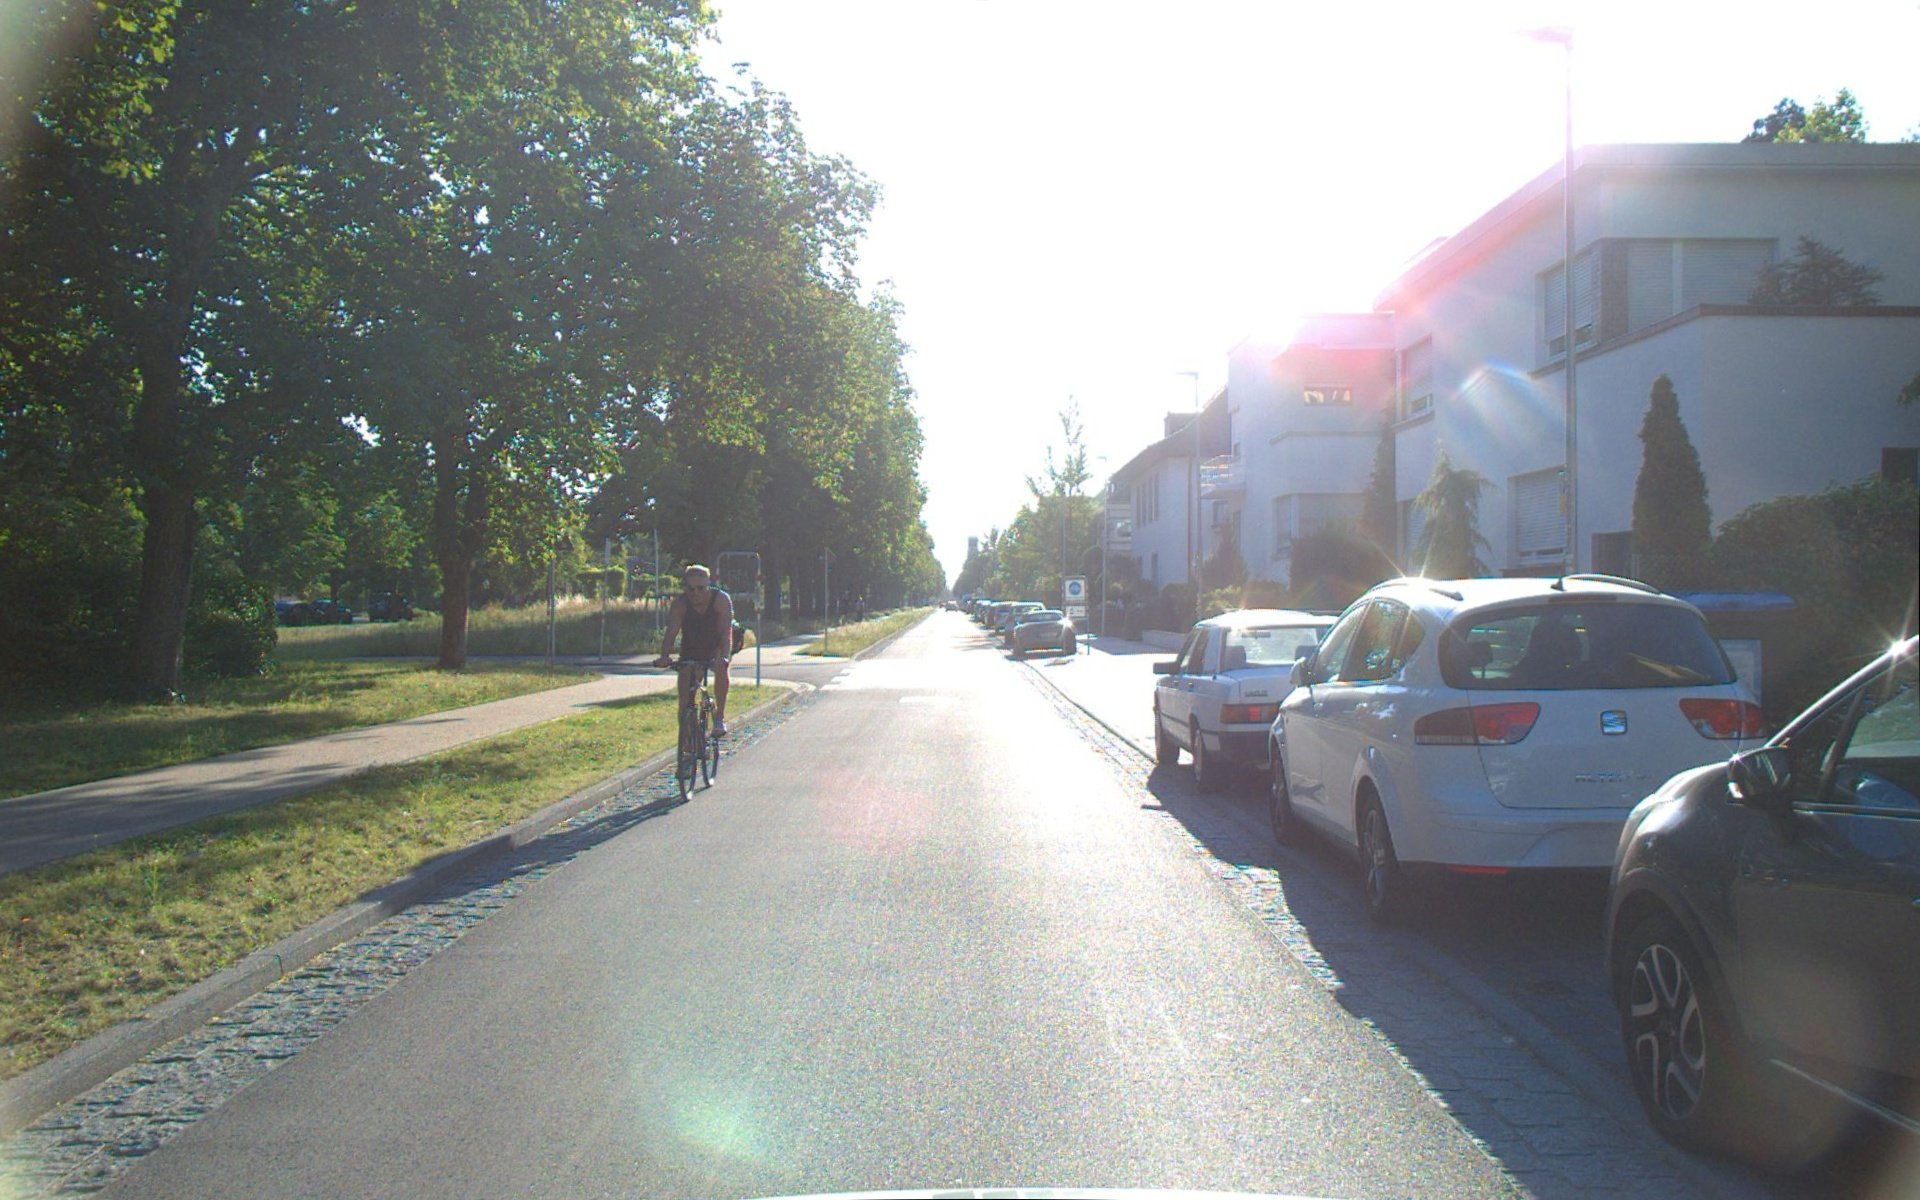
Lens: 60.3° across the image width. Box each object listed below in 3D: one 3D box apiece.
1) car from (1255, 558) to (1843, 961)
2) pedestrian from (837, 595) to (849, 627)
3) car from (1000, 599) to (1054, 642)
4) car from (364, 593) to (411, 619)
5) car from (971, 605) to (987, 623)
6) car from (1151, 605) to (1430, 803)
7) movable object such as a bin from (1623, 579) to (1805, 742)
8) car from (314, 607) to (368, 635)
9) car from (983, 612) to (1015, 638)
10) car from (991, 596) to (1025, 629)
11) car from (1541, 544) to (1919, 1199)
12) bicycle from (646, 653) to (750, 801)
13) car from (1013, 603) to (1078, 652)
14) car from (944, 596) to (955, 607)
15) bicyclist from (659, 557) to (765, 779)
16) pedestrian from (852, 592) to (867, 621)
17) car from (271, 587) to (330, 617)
[{"bbox_3d":[2.748,0.646,8.750,1.644,1.583,4.130,-1,0,1],"label":"car"},{"bbox_3d":[-6.769,0.622,95.625,0.611,1.863,0.886,0,0,3],"label":"pedestrian"},{"bbox_3d":[2.520,0.762,62.743,1.709,1.500,3.921,-3,0,-2],"label":"car"},{"bbox_3d":[-37.381,0.372,108.144,1.658,1.625,4.220,0,0,-1],"label":"car"},{"bbox_3d":[1.745,1.291,150.789,1.467,1.594,3.266,0,0,1],"label":"car"},{"bbox_3d":[2.706,0.777,14.459,1.532,1.414,4.374,-1,0,0],"label":"car"},{"bbox_3d":[7.036,0.547,15.505,1.211,1.457,1.123,0,0,1],"label":"movable object such as a bin"},{"bbox_3d":[-36.749,1.236,98.311,1.658,1.625,4.220,0,0,-1],"label":"car"},{"bbox_3d":[2.307,1.479,99.099,1.701,1.474,4.195,-2,-1,-2],"label":"car"},{"bbox_3d":[2.377,0.616,82.737,1.594,1.531,3.633,-2,0,0],"label":"car"},{"bbox_3d":[2.810,0.656,3.464,1.644,1.583,4.143,-1,0,-1],"label":"car"},{"bbox_3d":[-2.067,0.973,13.226,0.545,1.050,1.914,-1,-1,-1],"label":"bicycle"},{"bbox_3d":[2.625,0.825,51.357,1.738,1.311,4.272,-3,1,0],"label":"car"},{"bbox_3d":[-1.523,0.173,247.834,1.618,1.568,3.266,1,0,0],"label":"car"},{"bbox_3d":[-1.984,0.531,13.347,0.668,1.702,1.172,-1,-1,-1],"label":"bicyclist"},{"bbox_3d":[-5.830,0.380,95.816,0.767,1.643,0.952,0,0,3],"label":"pedestrian"},{"bbox_3d":[-36.640,0.127,91.966,1.658,1.625,4.220,0,0,-1],"label":"car"}]
